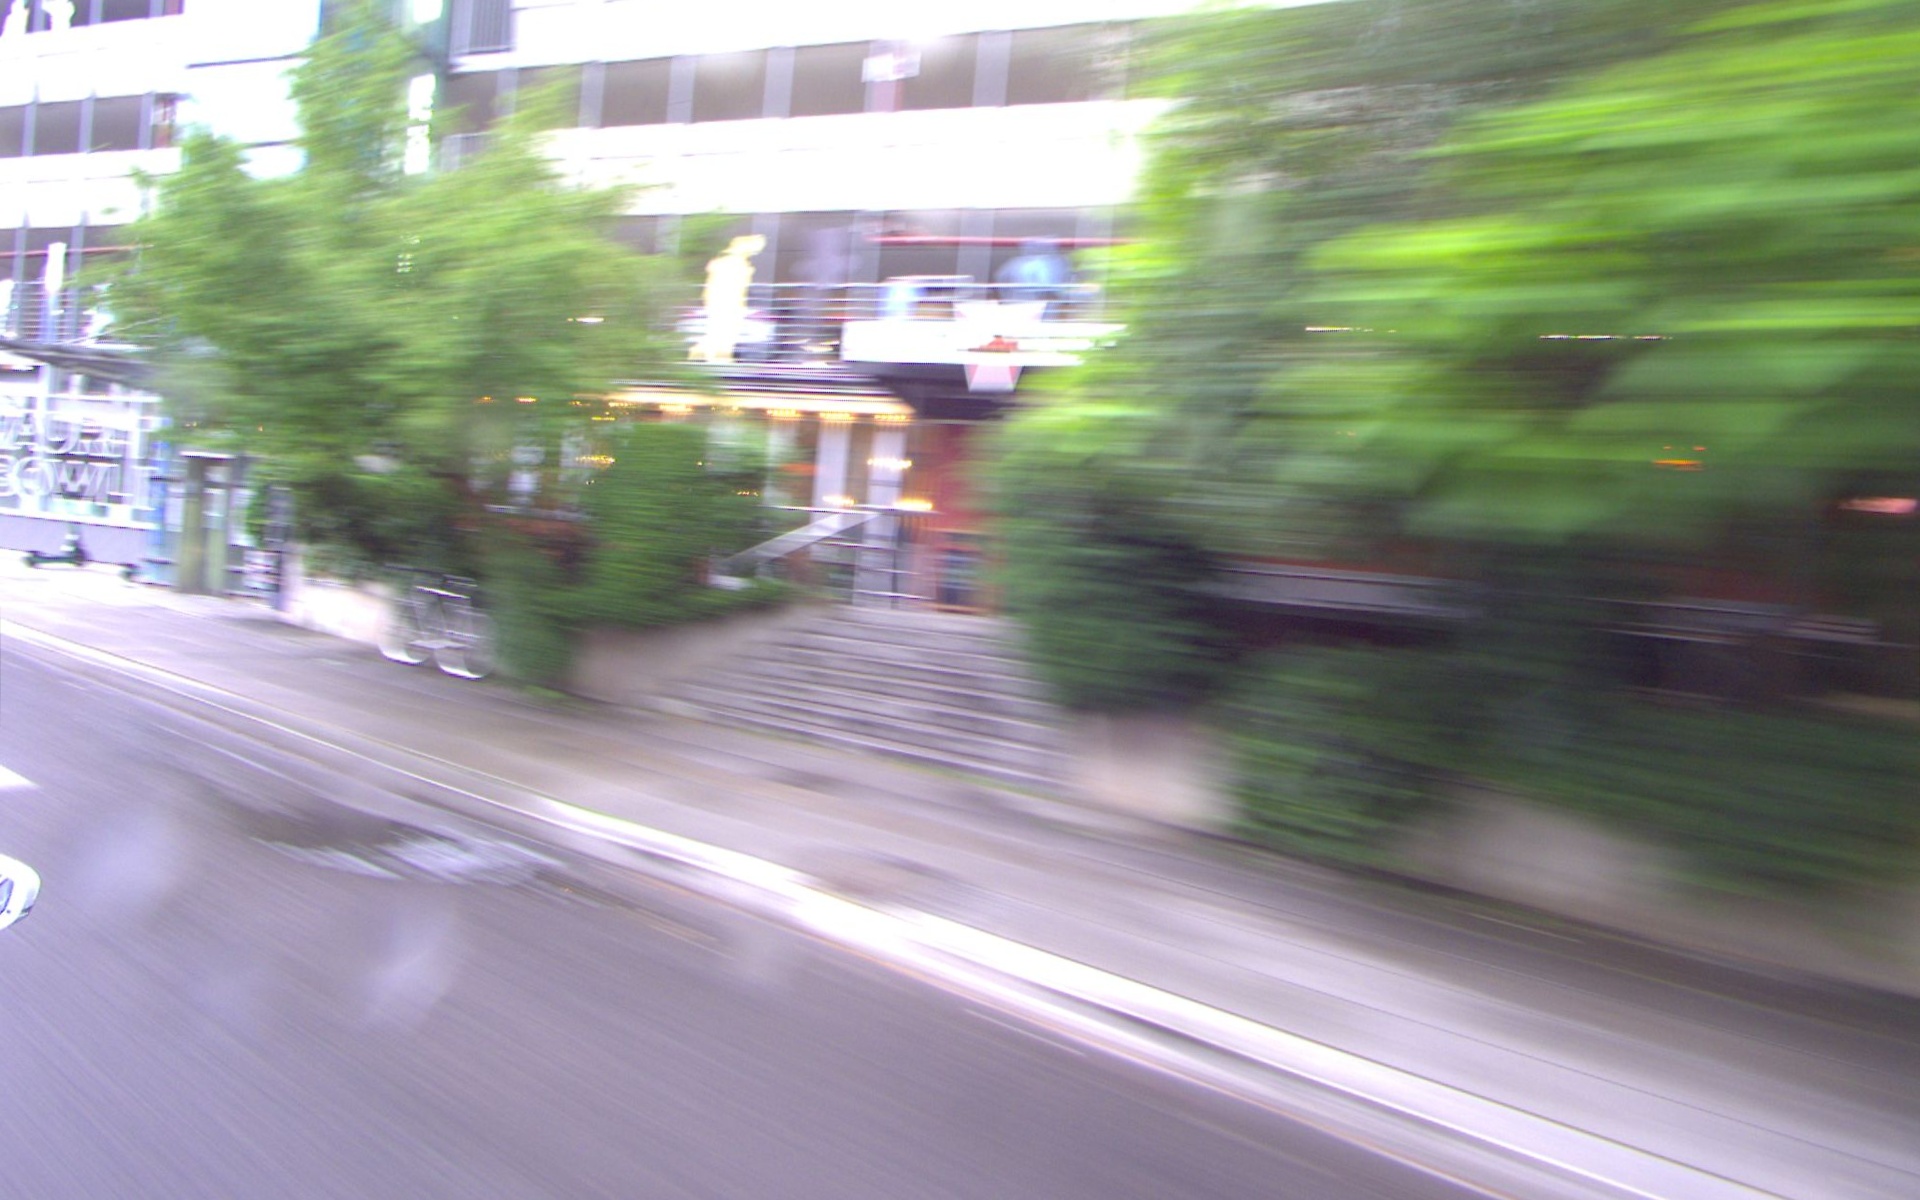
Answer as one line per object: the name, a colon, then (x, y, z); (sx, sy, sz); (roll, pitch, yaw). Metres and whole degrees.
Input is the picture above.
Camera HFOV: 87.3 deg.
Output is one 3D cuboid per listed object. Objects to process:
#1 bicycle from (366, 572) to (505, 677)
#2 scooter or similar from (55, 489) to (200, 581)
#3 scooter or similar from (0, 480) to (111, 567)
bicycle: (-5.526, 0.246, 10.561); (1.662, 0.896, 0.470); (7, 1, 32)
scooter or similar: (-13.080, -0.989, 15.877); (0.729, 1.284, 1.640); (7, 2, 7)
scooter or similar: (-15.052, -1.243, 16.455); (0.729, 1.284, 1.640); (7, 2, 7)
